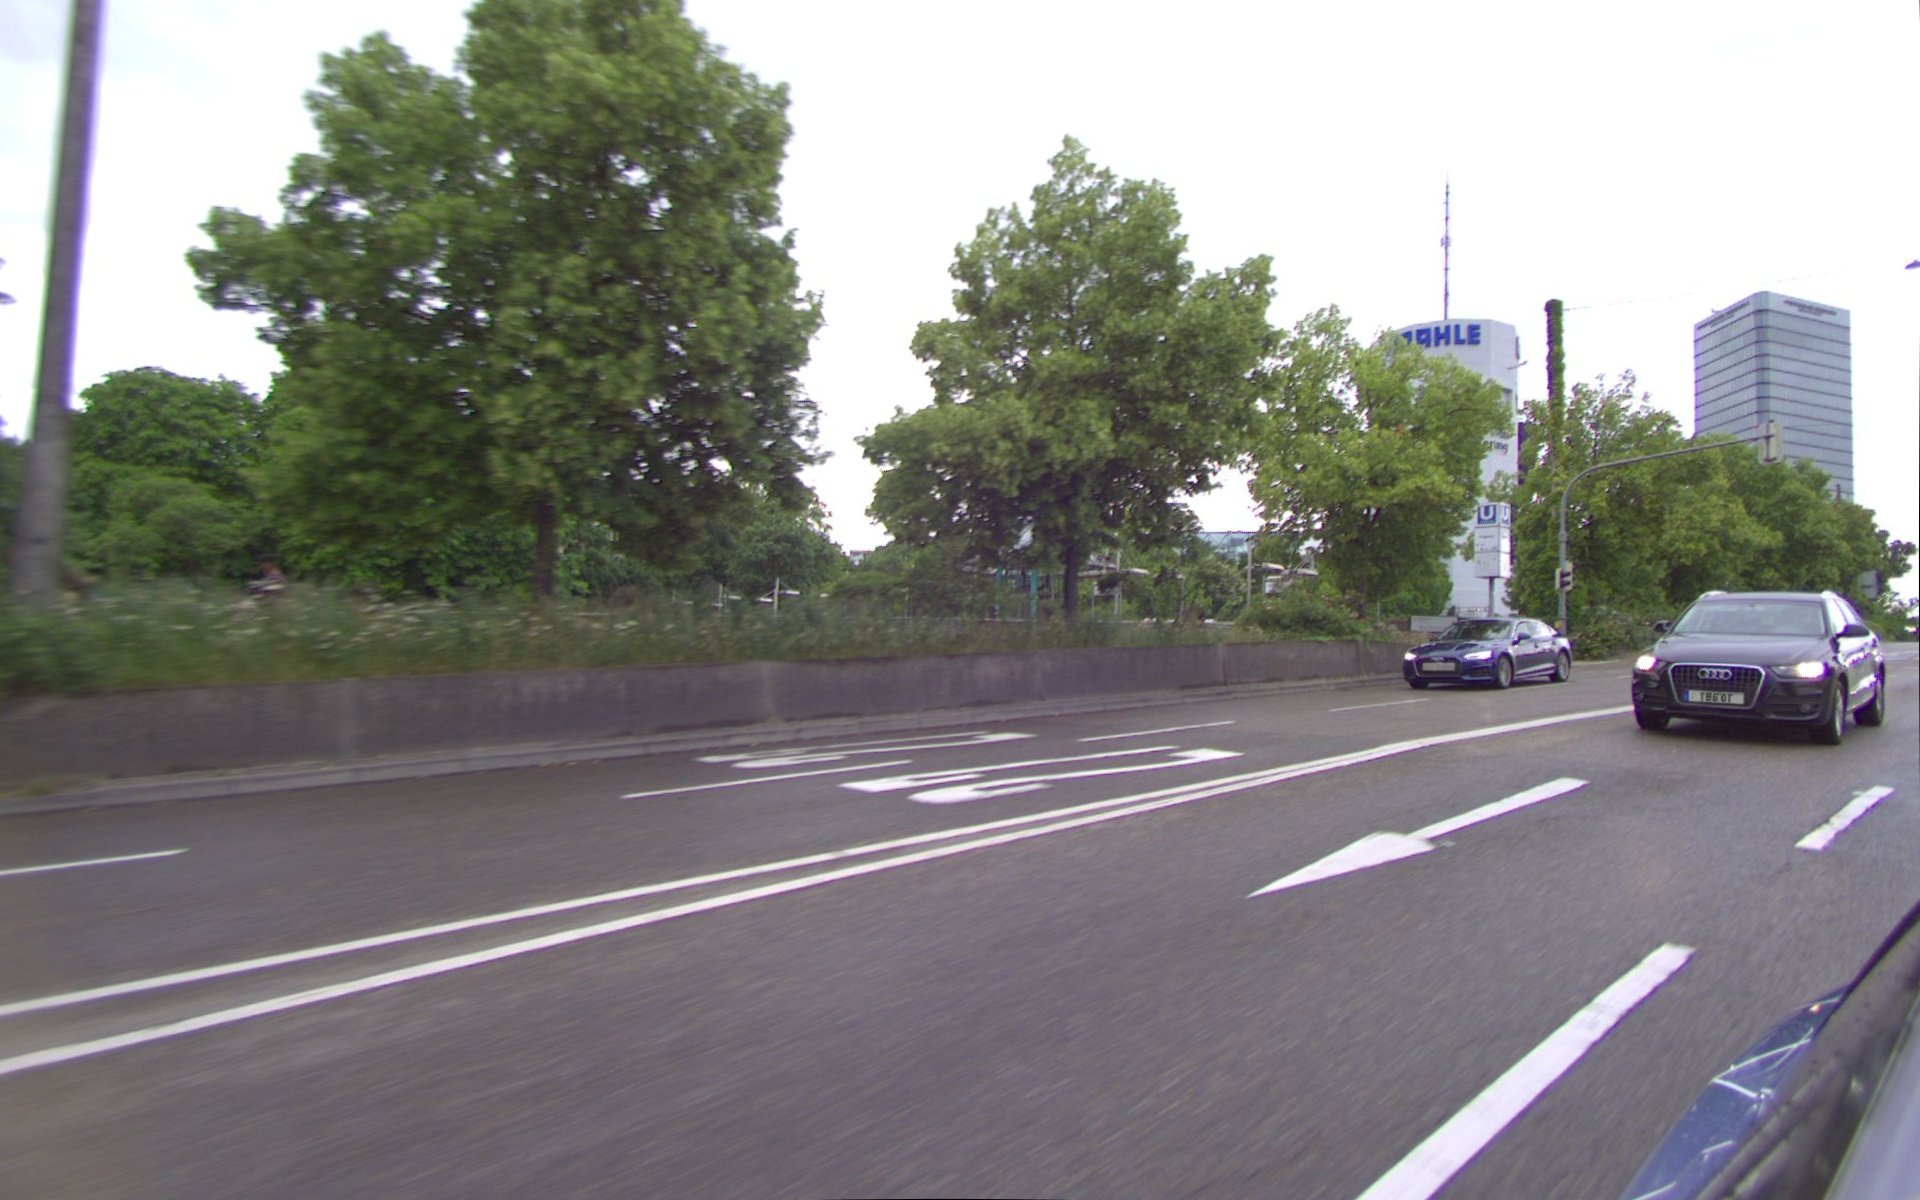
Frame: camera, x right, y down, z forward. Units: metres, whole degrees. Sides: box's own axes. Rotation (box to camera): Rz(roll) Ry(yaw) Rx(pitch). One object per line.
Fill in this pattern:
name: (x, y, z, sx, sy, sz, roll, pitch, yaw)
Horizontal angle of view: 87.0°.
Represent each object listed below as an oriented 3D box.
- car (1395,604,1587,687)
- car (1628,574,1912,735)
car: (10.747, 0.850, 20.379, 4.270, 1.444, 1.875, -1, -1, -39)
car: (9.471, 0.564, 11.730, 4.052, 1.554, 1.729, 1, -2, -39)
